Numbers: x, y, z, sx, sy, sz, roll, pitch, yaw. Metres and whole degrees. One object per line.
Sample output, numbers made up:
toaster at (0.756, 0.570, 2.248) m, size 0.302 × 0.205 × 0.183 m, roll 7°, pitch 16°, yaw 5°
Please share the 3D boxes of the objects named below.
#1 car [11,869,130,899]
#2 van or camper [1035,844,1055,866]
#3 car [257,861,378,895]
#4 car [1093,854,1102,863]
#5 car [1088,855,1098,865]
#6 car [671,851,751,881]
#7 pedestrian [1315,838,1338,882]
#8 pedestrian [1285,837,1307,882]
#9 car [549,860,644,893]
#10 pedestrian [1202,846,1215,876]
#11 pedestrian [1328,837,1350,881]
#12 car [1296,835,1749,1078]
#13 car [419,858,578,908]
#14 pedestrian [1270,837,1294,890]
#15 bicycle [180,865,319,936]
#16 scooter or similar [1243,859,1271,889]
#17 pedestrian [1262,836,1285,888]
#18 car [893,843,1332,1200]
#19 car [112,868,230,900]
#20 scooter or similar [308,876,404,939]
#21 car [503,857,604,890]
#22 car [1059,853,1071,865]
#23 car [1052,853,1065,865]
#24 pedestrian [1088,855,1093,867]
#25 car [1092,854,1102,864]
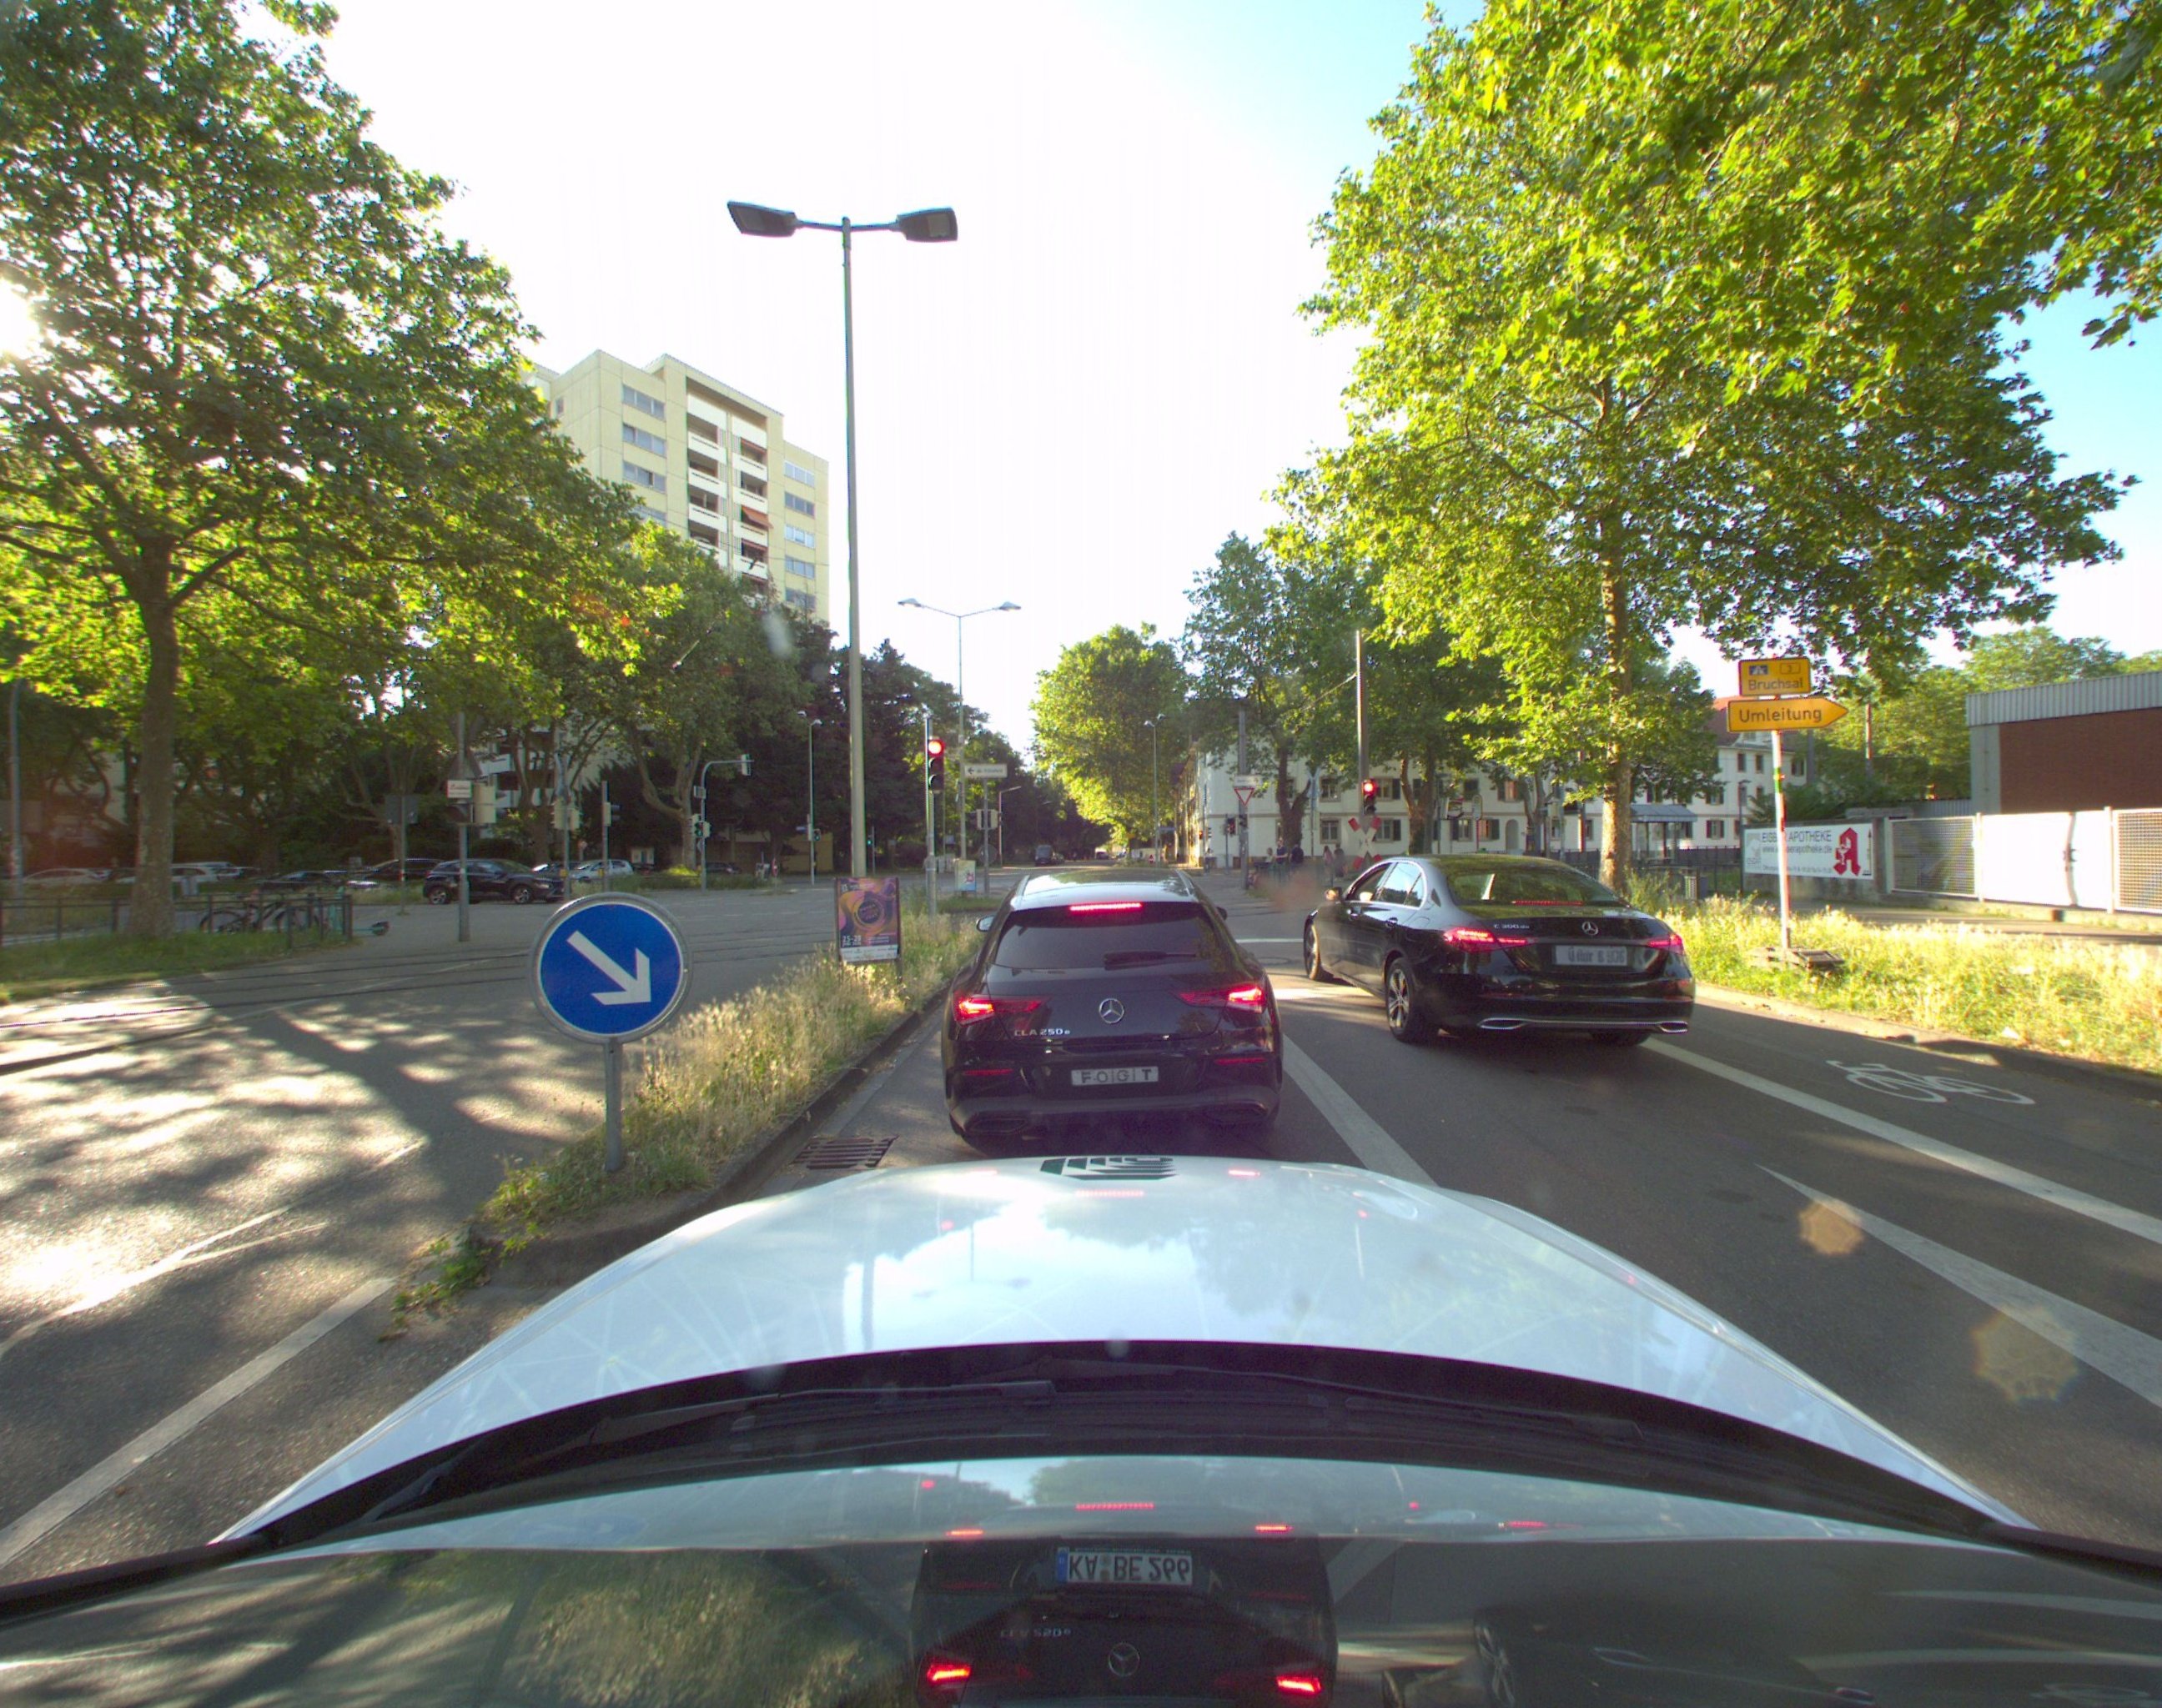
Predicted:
car at (-57.101, 1.658, 46.079) m, size 1.716 × 1.596 × 4.025 m, roll -1°, pitch -1°, yaw 32°
van or camper at (-4.418, 0.124, 100.056) m, size 1.986 × 2.541 × 4.653 m, roll 0°, pitch -1°, yaw 2°
car at (-37.414, 1.140, 40.003) m, size 1.716 × 1.596 × 4.025 m, roll -1°, pitch -1°, yaw 32°
car at (3.245, 0.894, 158.629) m, size 1.727 × 1.765 × 4.020 m, roll 0°, pitch -1°, yaw 2°
car at (2.103, 1.001, 145.741) m, size 1.727 × 1.765 × 4.020 m, roll 0°, pitch -1°, yaw 2°
car at (-22.640, 0.741, 49.930) m, size 3.963 × 1.774 × 2.005 m, roll -1°, pitch -1°, yaw 9°
pedestrian at (10.723, 0.257, 35.564) m, size 0.703 × 1.918 × 0.838 m, roll 0°, pitch -1°, yaw -2°
pedestrian at (9.300, 0.252, 35.242) m, size 0.703 × 1.918 × 0.838 m, roll 0°, pitch -1°, yaw -2°
car at (-24.923, 1.122, 42.031) m, size 1.716 × 1.596 × 3.831 m, roll -1°, pitch -1°, yaw 32°
pedestrian at (8.467, 0.464, 54.032) m, size 0.703 × 1.918 × 0.838 m, roll 0°, pitch -1°, yaw -2°
pedestrian at (11.573, 0.229, 36.544) m, size 0.703 × 1.918 × 0.838 m, roll 0°, pitch -1°, yaw -2°
car at (3.363, 0.605, 7.353) m, size 1.882 × 1.490 × 4.385 m, roll 0°, pitch 2°, yaw 2°
car at (-19.409, 0.940, 27.289) m, size 3.981 × 1.596 × 1.735 m, roll 0°, pitch -1°, yaw -5°
pedestrian at (7.412, 0.341, 30.088) m, size 0.680 × 1.918 × 0.707 m, roll 0°, pitch -1°, yaw 0°
bicycle at (-15.953, 0.875, 15.675) m, size 1.845 × 1.307 × 0.380 m, roll 0°, pitch -1°, yaw -26°
scooter or similar at (6.489, 0.737, 30.071) m, size 0.826 × 1.104 × 0.808 m, roll 0°, pitch -1°, yaw -4°
pedestrian at (7.288, 0.296, 30.864) m, size 0.681 × 1.918 × 0.707 m, roll 0°, pitch -1°, yaw -2°
car at (0.245, 0.698, 5.512) m, size 1.881 × 1.450 × 4.004 m, roll 0°, pitch 2°, yaw 3°
car at (-49.160, 1.580, 44.076) m, size 1.716 × 1.596 × 4.025 m, roll -1°, pitch -1°, yaw 32°
scooter or similar at (-15.093, 1.092, 16.987) m, size 0.408 × 1.239 × 1.450 m, roll -1°, pitch -1°, yaw 40°
car at (-27.219, 0.970, 42.166) m, size 1.716 × 1.596 × 4.025 m, roll -1°, pitch -1°, yaw 32°
car at (-2.447, 0.821, 126.677) m, size 1.727 × 1.765 × 3.972 m, roll 0°, pitch -1°, yaw 2°
car at (-3.249, 0.756, 117.859) m, size 1.727 × 1.765 × 4.087 m, roll 0°, pitch -1°, yaw 2°
pedestrian at (1.537, 1.046, 130.205) m, size 0.704 × 1.918 × 0.837 m, roll 0°, pitch -1°, yaw -8°
car at (2.915, 0.973, 150.546) m, size 1.727 × 1.765 × 4.020 m, roll 0°, pitch -1°, yaw 2°
